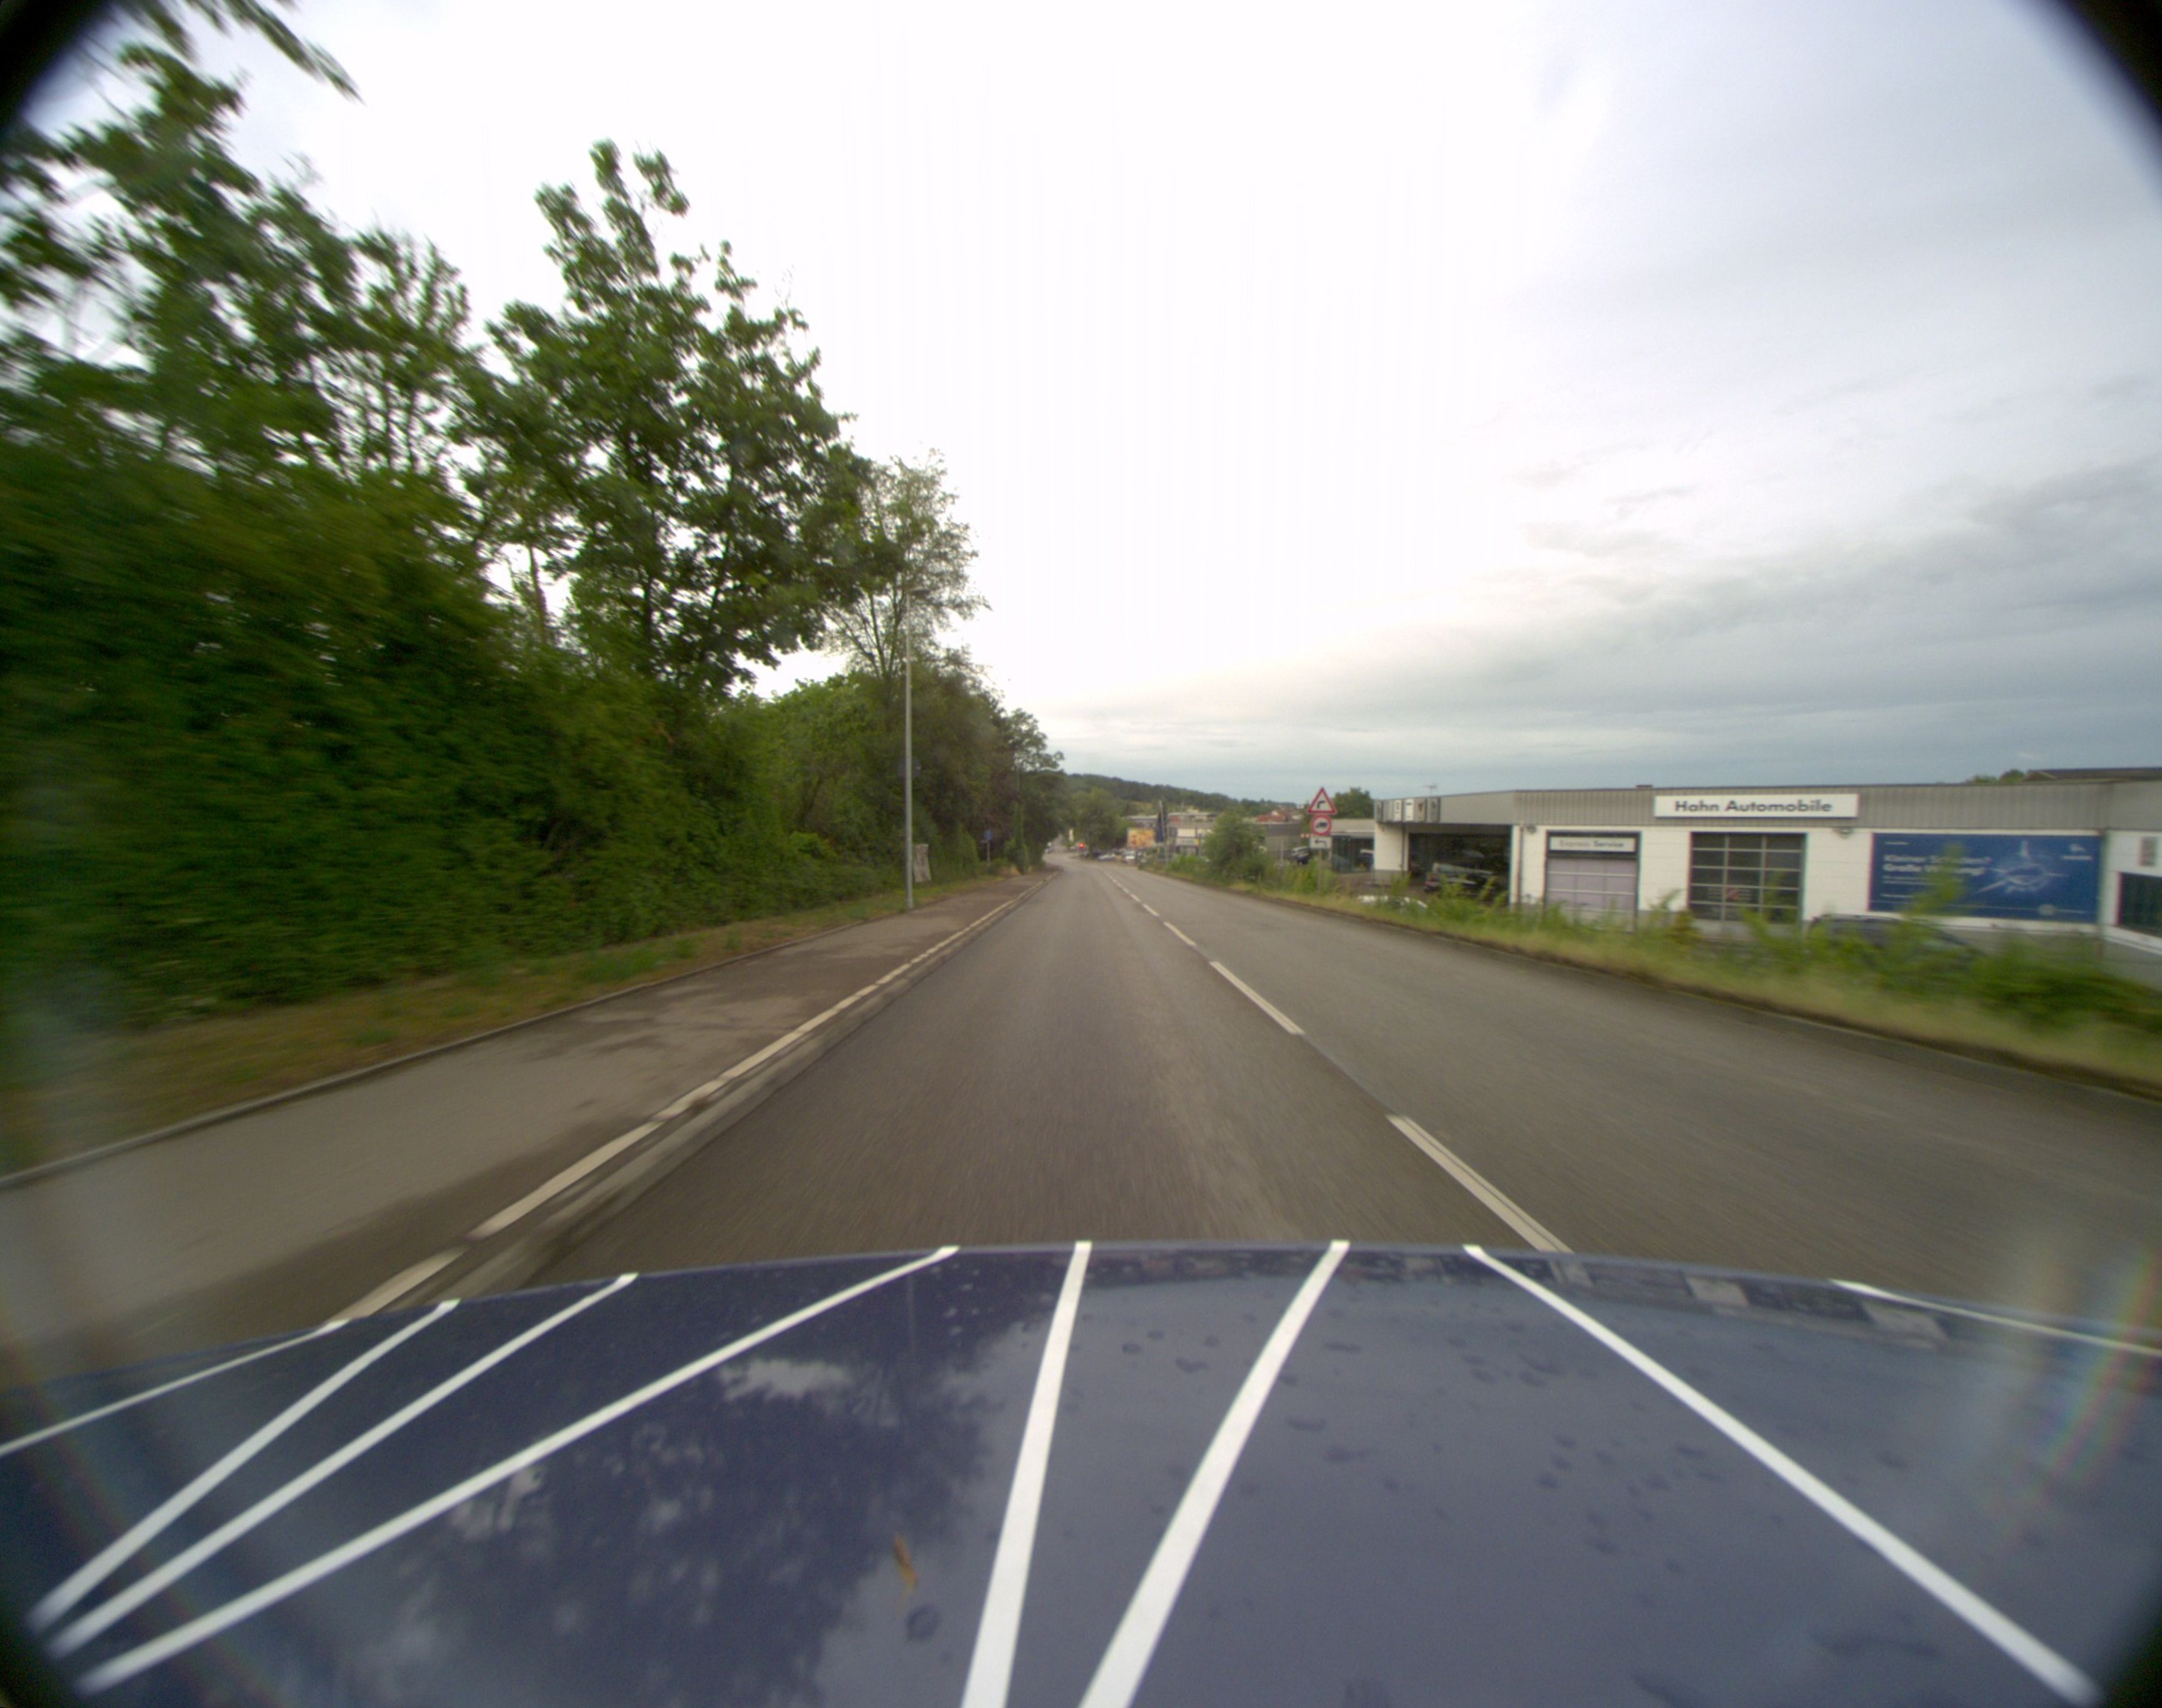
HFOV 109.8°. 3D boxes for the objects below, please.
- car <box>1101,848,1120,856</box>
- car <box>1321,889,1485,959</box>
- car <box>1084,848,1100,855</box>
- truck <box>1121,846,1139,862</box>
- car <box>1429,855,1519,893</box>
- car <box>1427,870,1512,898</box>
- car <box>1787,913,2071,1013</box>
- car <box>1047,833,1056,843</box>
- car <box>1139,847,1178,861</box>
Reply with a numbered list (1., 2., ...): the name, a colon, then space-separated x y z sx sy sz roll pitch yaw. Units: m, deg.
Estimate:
1. car: 6.334 -0.534 162.249 4.015 1.561 1.716 -3 2 -39
2. car: 10.807 2.327 25.706 4.639 1.793 1.867 5 1 -3
3. car: 2.539 -0.572 178.750 3.768 1.559 1.671 1 2 -4
4. truck: 8.372 -0.095 130.599 1.999 2.617 7.888 1 1 -3
5. car: 23.394 1.155 45.306 4.471 1.949 1.992 3 3 35
6. car: 21.736 1.658 42.499 4.010 1.408 1.958 1 0 34
7. car: 22.020 2.736 20.087 4.625 1.793 1.872 5 1 37
8. car: -9.071 -5.088 235.088 2.575 2.759 6.122 2 4 -2
9. car: 10.668 -0.006 104.509 5.084 1.860 1.821 0 1 -9
